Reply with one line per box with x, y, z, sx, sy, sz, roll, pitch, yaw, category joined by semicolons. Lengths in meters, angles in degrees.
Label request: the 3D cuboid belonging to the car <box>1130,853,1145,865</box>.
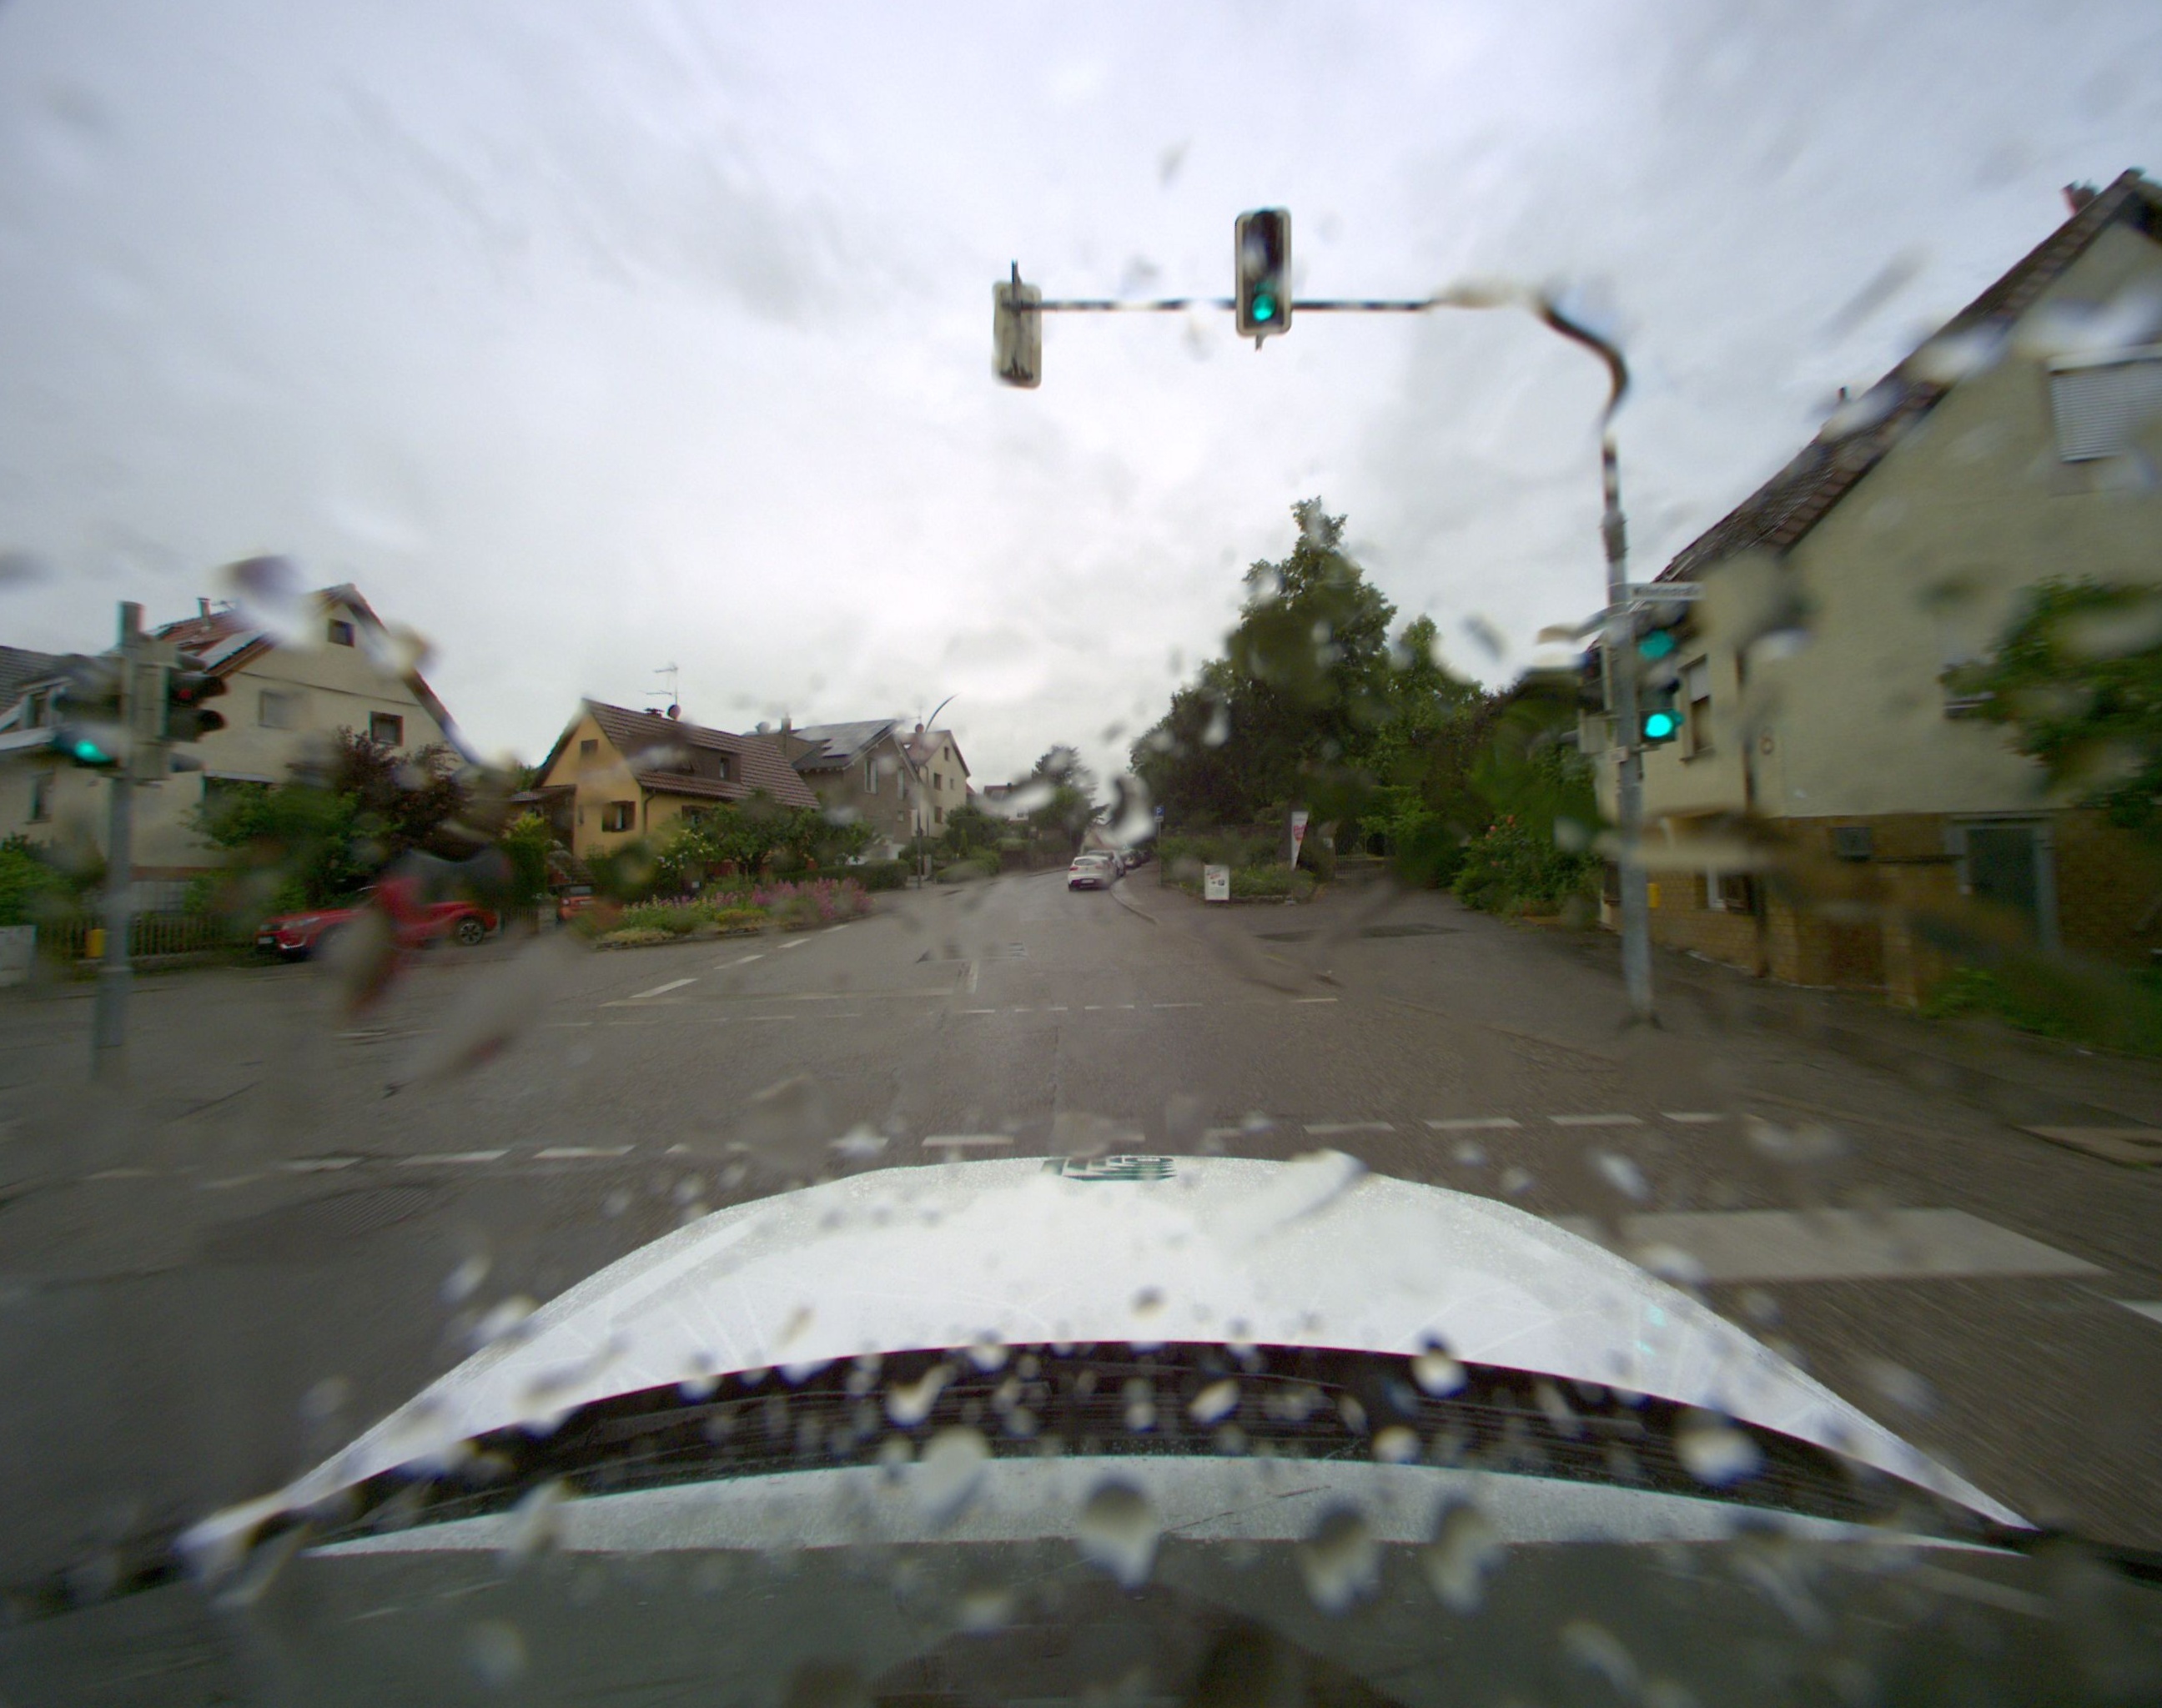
6.590;0.559;95.115;1.644;1.371;4.186;-2;0;4;car

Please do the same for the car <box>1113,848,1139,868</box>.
3.810;0.328;68.878;1.805;1.573;3.888;-2;-1;8;car

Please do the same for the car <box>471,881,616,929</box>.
-17.396;1.632;26.385;3.954;1.383;1.872;-2;0;19;car

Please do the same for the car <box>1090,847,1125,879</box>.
1.578;0.507;47.286;1.628;1.741;4.143;-2;0;7;car

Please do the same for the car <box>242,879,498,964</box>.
-16.122;1.463;18.752;1.734;1.562;4.040;-2;0;21;car

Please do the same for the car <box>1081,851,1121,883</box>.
1.063;0.628;41.364;1.637;1.462;4.009;-1;1;7;car

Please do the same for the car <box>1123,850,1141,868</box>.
5.142;0.508;81.468;1.734;1.668;4.502;-2;-1;4;car

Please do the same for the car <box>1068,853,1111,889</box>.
0.436;0.730;36.400;1.604;1.480;4.043;-1;0;4;car

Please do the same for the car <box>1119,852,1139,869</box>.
4.437;0.634;75.039;1.756;1.447;4.701;-2;-1;4;car
